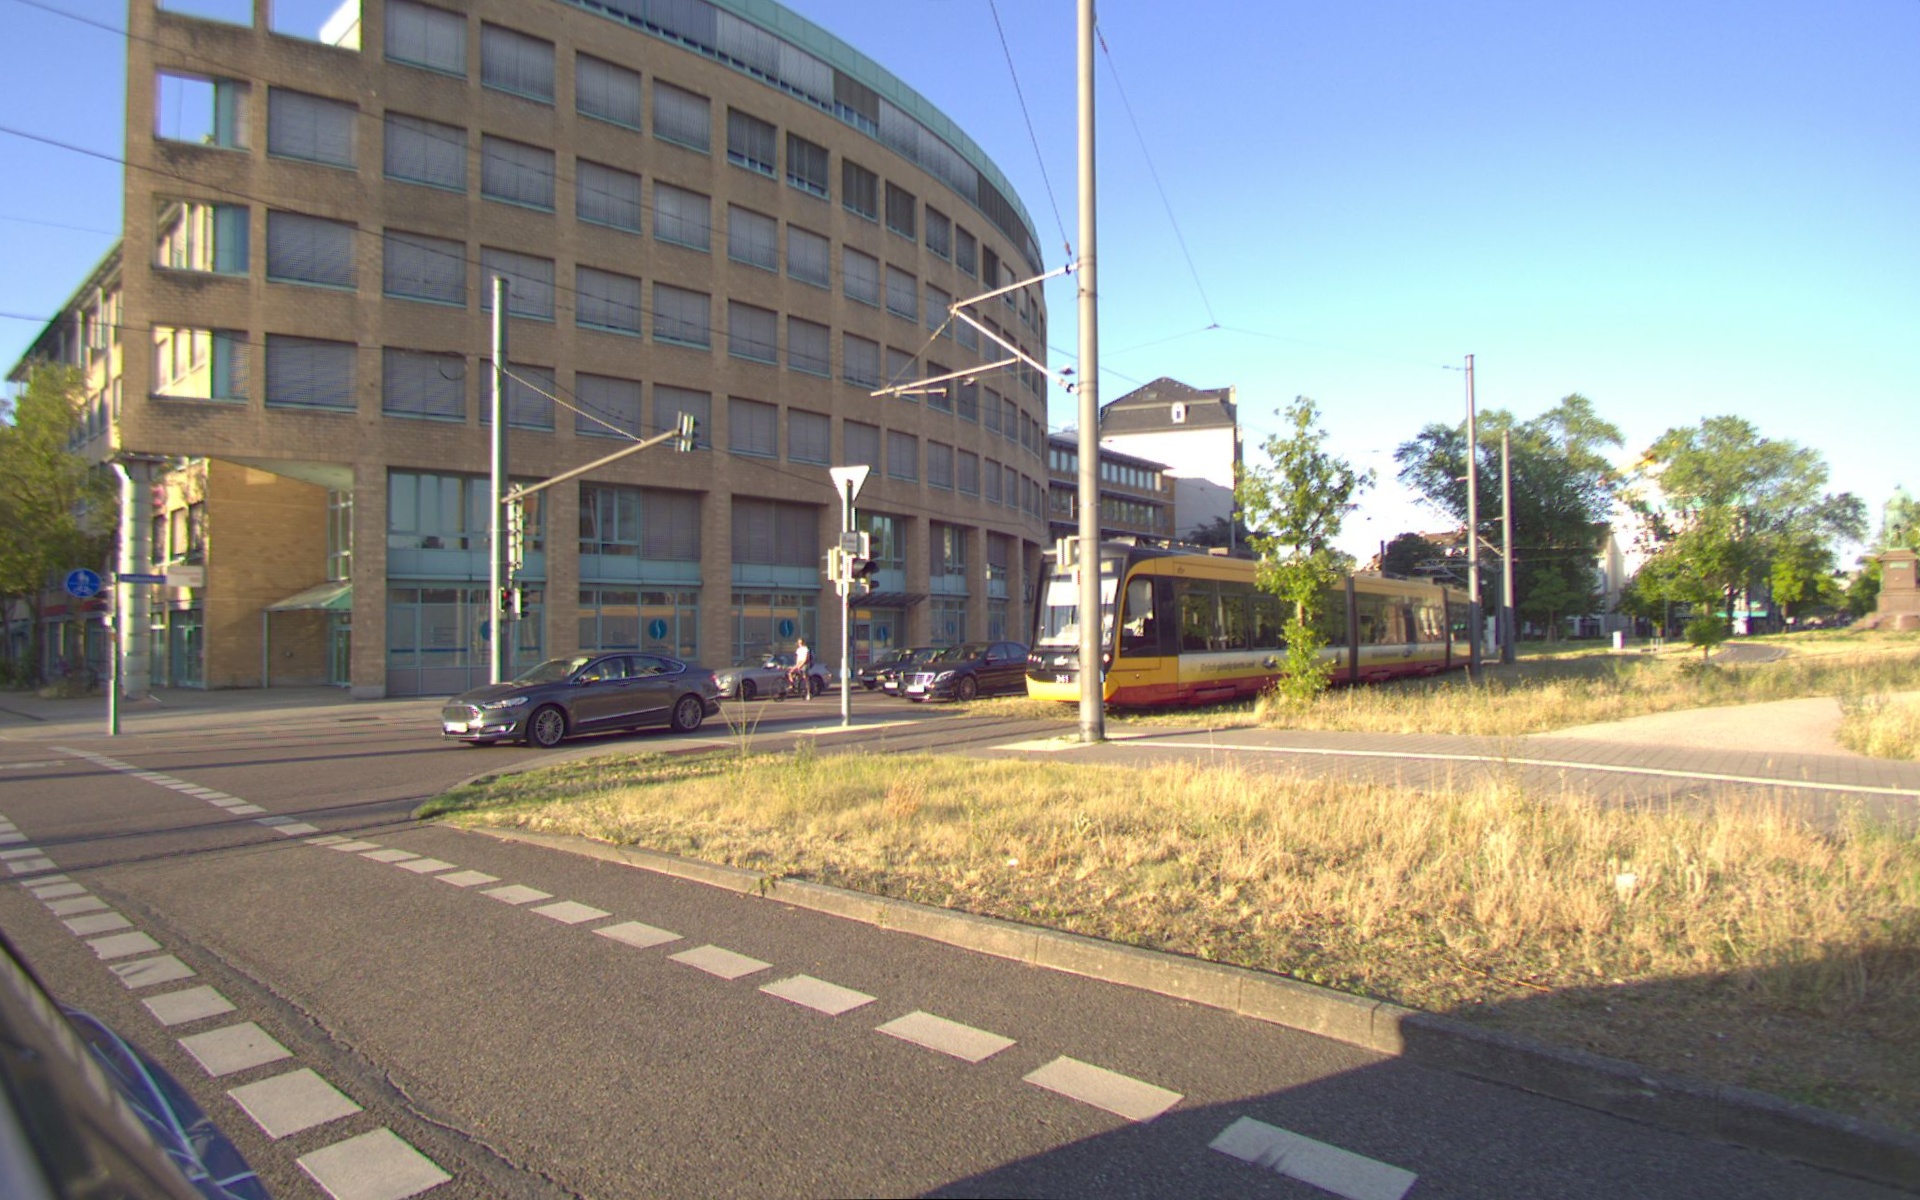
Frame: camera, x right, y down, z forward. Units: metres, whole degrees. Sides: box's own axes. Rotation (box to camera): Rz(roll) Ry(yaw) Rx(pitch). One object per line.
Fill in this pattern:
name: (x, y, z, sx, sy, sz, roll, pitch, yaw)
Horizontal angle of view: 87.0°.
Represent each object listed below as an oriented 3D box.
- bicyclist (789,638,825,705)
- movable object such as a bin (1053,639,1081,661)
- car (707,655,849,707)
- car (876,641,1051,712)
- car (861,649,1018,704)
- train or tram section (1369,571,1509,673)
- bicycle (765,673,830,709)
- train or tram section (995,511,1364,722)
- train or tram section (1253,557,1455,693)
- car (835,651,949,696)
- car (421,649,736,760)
bicyclist: (-4.298, 1.999, 28.488, 0.634, 1.835, 0.767, -3, -3, 38)
movable object such as a bin: (7.285, 3.401, 68.746, 1.425, 1.470, 1.316, -3, -3, 37)
car: (-5.547, 2.449, 31.175, 1.748, 1.396, 4.171, -3, -3, 40)
car: (0.194, 1.847, 25.490, 1.897, 1.547, 4.643, -3, -3, 39)
car: (-0.516, 2.174, 29.373, 1.998, 1.396, 4.677, -4, -4, 39)
train or tram section: (20.624, 0.981, 43.014, 2.910, 3.767, 12.039, -3, -3, 37)
bicycle: (-4.513, 2.517, 28.201, 0.634, 0.880, 1.846, -3, -3, 37)
train or tram section: (5.956, 0.530, 24.081, 2.915, 3.768, 13.043, -3, -4, 39)
train or tram section: (13.461, 0.864, 33.600, 2.882, 3.767, 12.028, -3, -3, 37)
car: (-2.302, 2.521, 35.144, 1.757, 1.398, 3.949, -3, -3, 38)
car: (-6.093, 1.597, 16.753, 1.887, 1.497, 4.670, -2, -3, 34)
